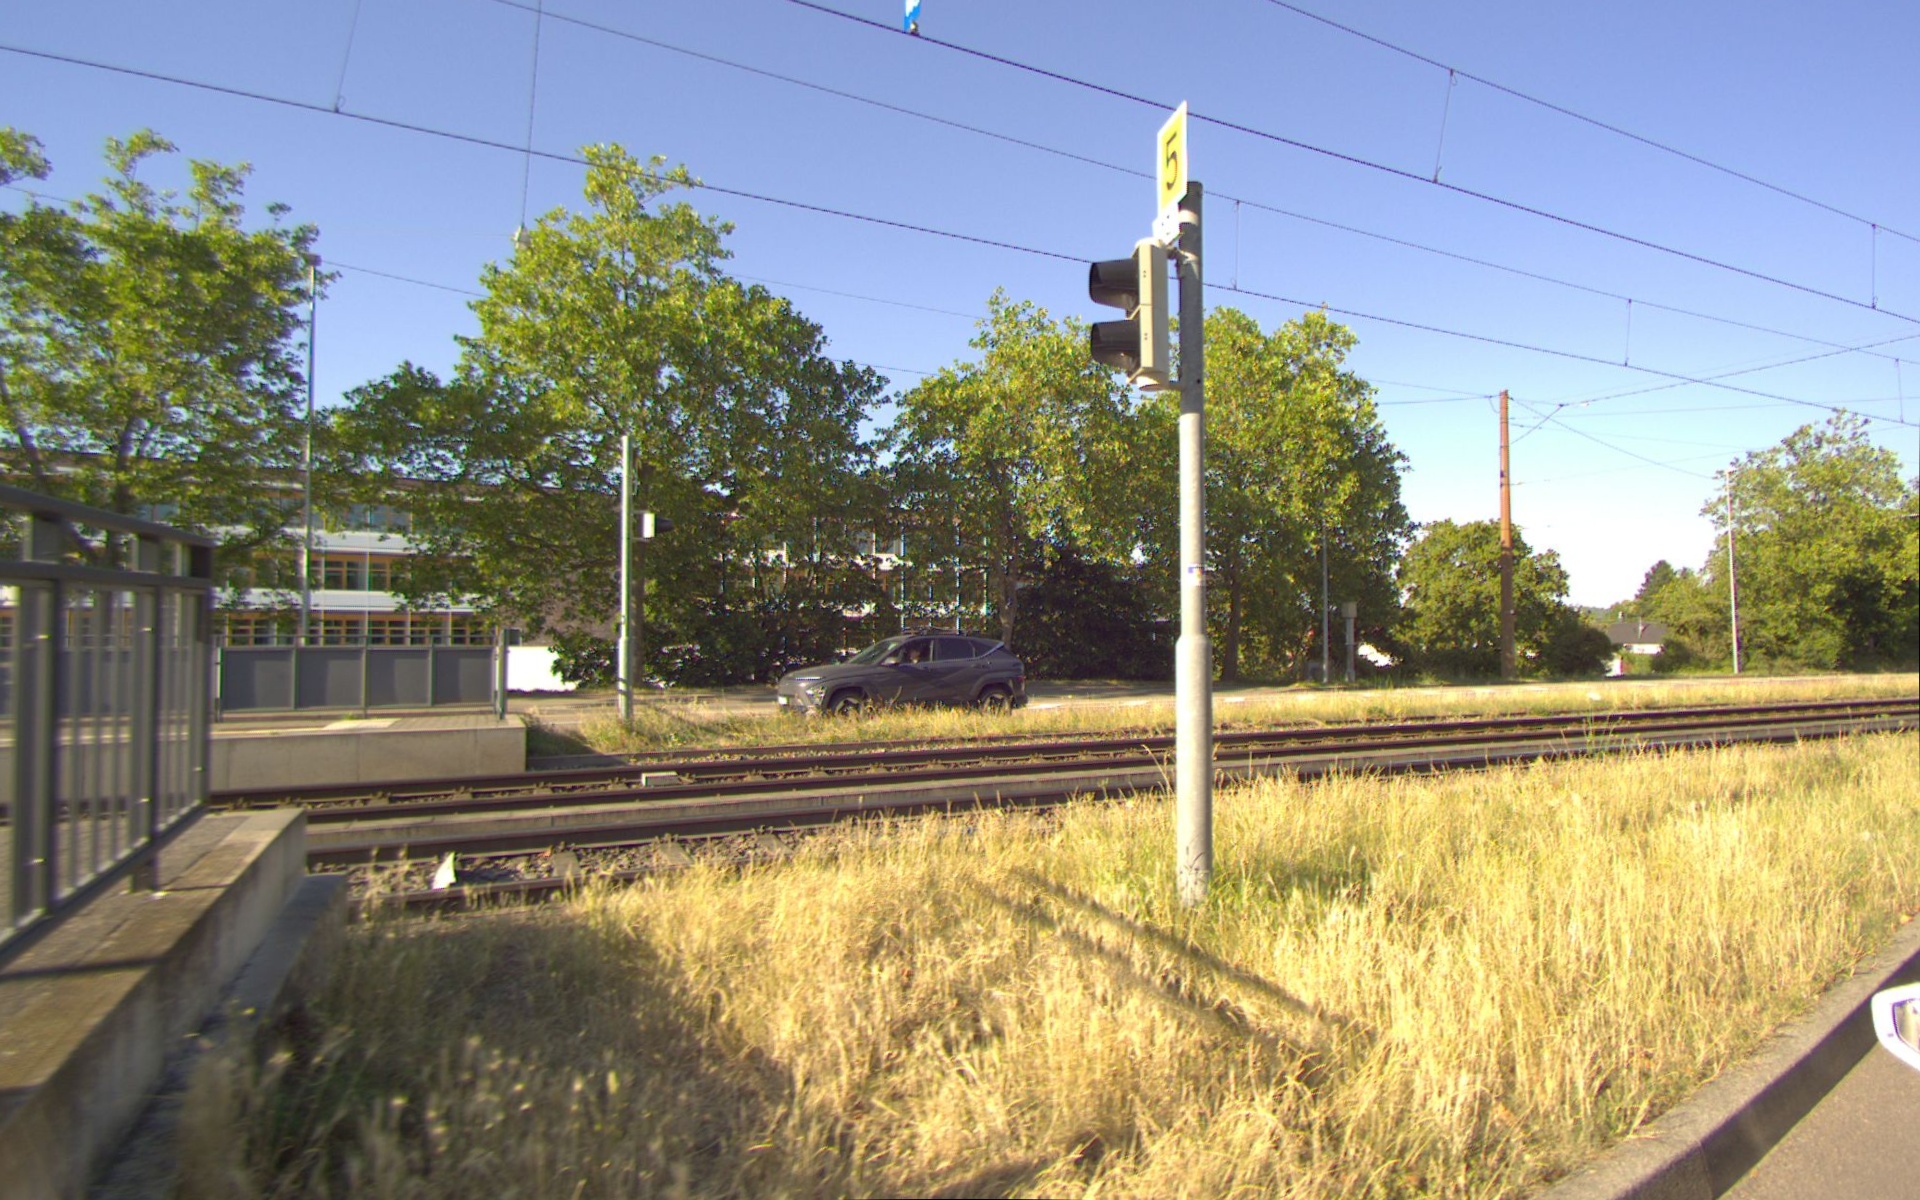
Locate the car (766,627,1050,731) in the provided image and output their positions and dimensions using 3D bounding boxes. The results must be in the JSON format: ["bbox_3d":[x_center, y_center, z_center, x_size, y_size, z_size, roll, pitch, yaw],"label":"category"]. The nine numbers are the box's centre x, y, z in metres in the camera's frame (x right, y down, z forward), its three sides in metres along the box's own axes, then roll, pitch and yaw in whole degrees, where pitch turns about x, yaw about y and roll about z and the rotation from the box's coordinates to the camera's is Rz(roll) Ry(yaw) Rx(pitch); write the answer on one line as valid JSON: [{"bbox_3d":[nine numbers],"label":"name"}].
[{"bbox_3d":[-0.876,1.281,17.318,4.484,1.582,1.987,1,-1,-26],"label":"car"}]
